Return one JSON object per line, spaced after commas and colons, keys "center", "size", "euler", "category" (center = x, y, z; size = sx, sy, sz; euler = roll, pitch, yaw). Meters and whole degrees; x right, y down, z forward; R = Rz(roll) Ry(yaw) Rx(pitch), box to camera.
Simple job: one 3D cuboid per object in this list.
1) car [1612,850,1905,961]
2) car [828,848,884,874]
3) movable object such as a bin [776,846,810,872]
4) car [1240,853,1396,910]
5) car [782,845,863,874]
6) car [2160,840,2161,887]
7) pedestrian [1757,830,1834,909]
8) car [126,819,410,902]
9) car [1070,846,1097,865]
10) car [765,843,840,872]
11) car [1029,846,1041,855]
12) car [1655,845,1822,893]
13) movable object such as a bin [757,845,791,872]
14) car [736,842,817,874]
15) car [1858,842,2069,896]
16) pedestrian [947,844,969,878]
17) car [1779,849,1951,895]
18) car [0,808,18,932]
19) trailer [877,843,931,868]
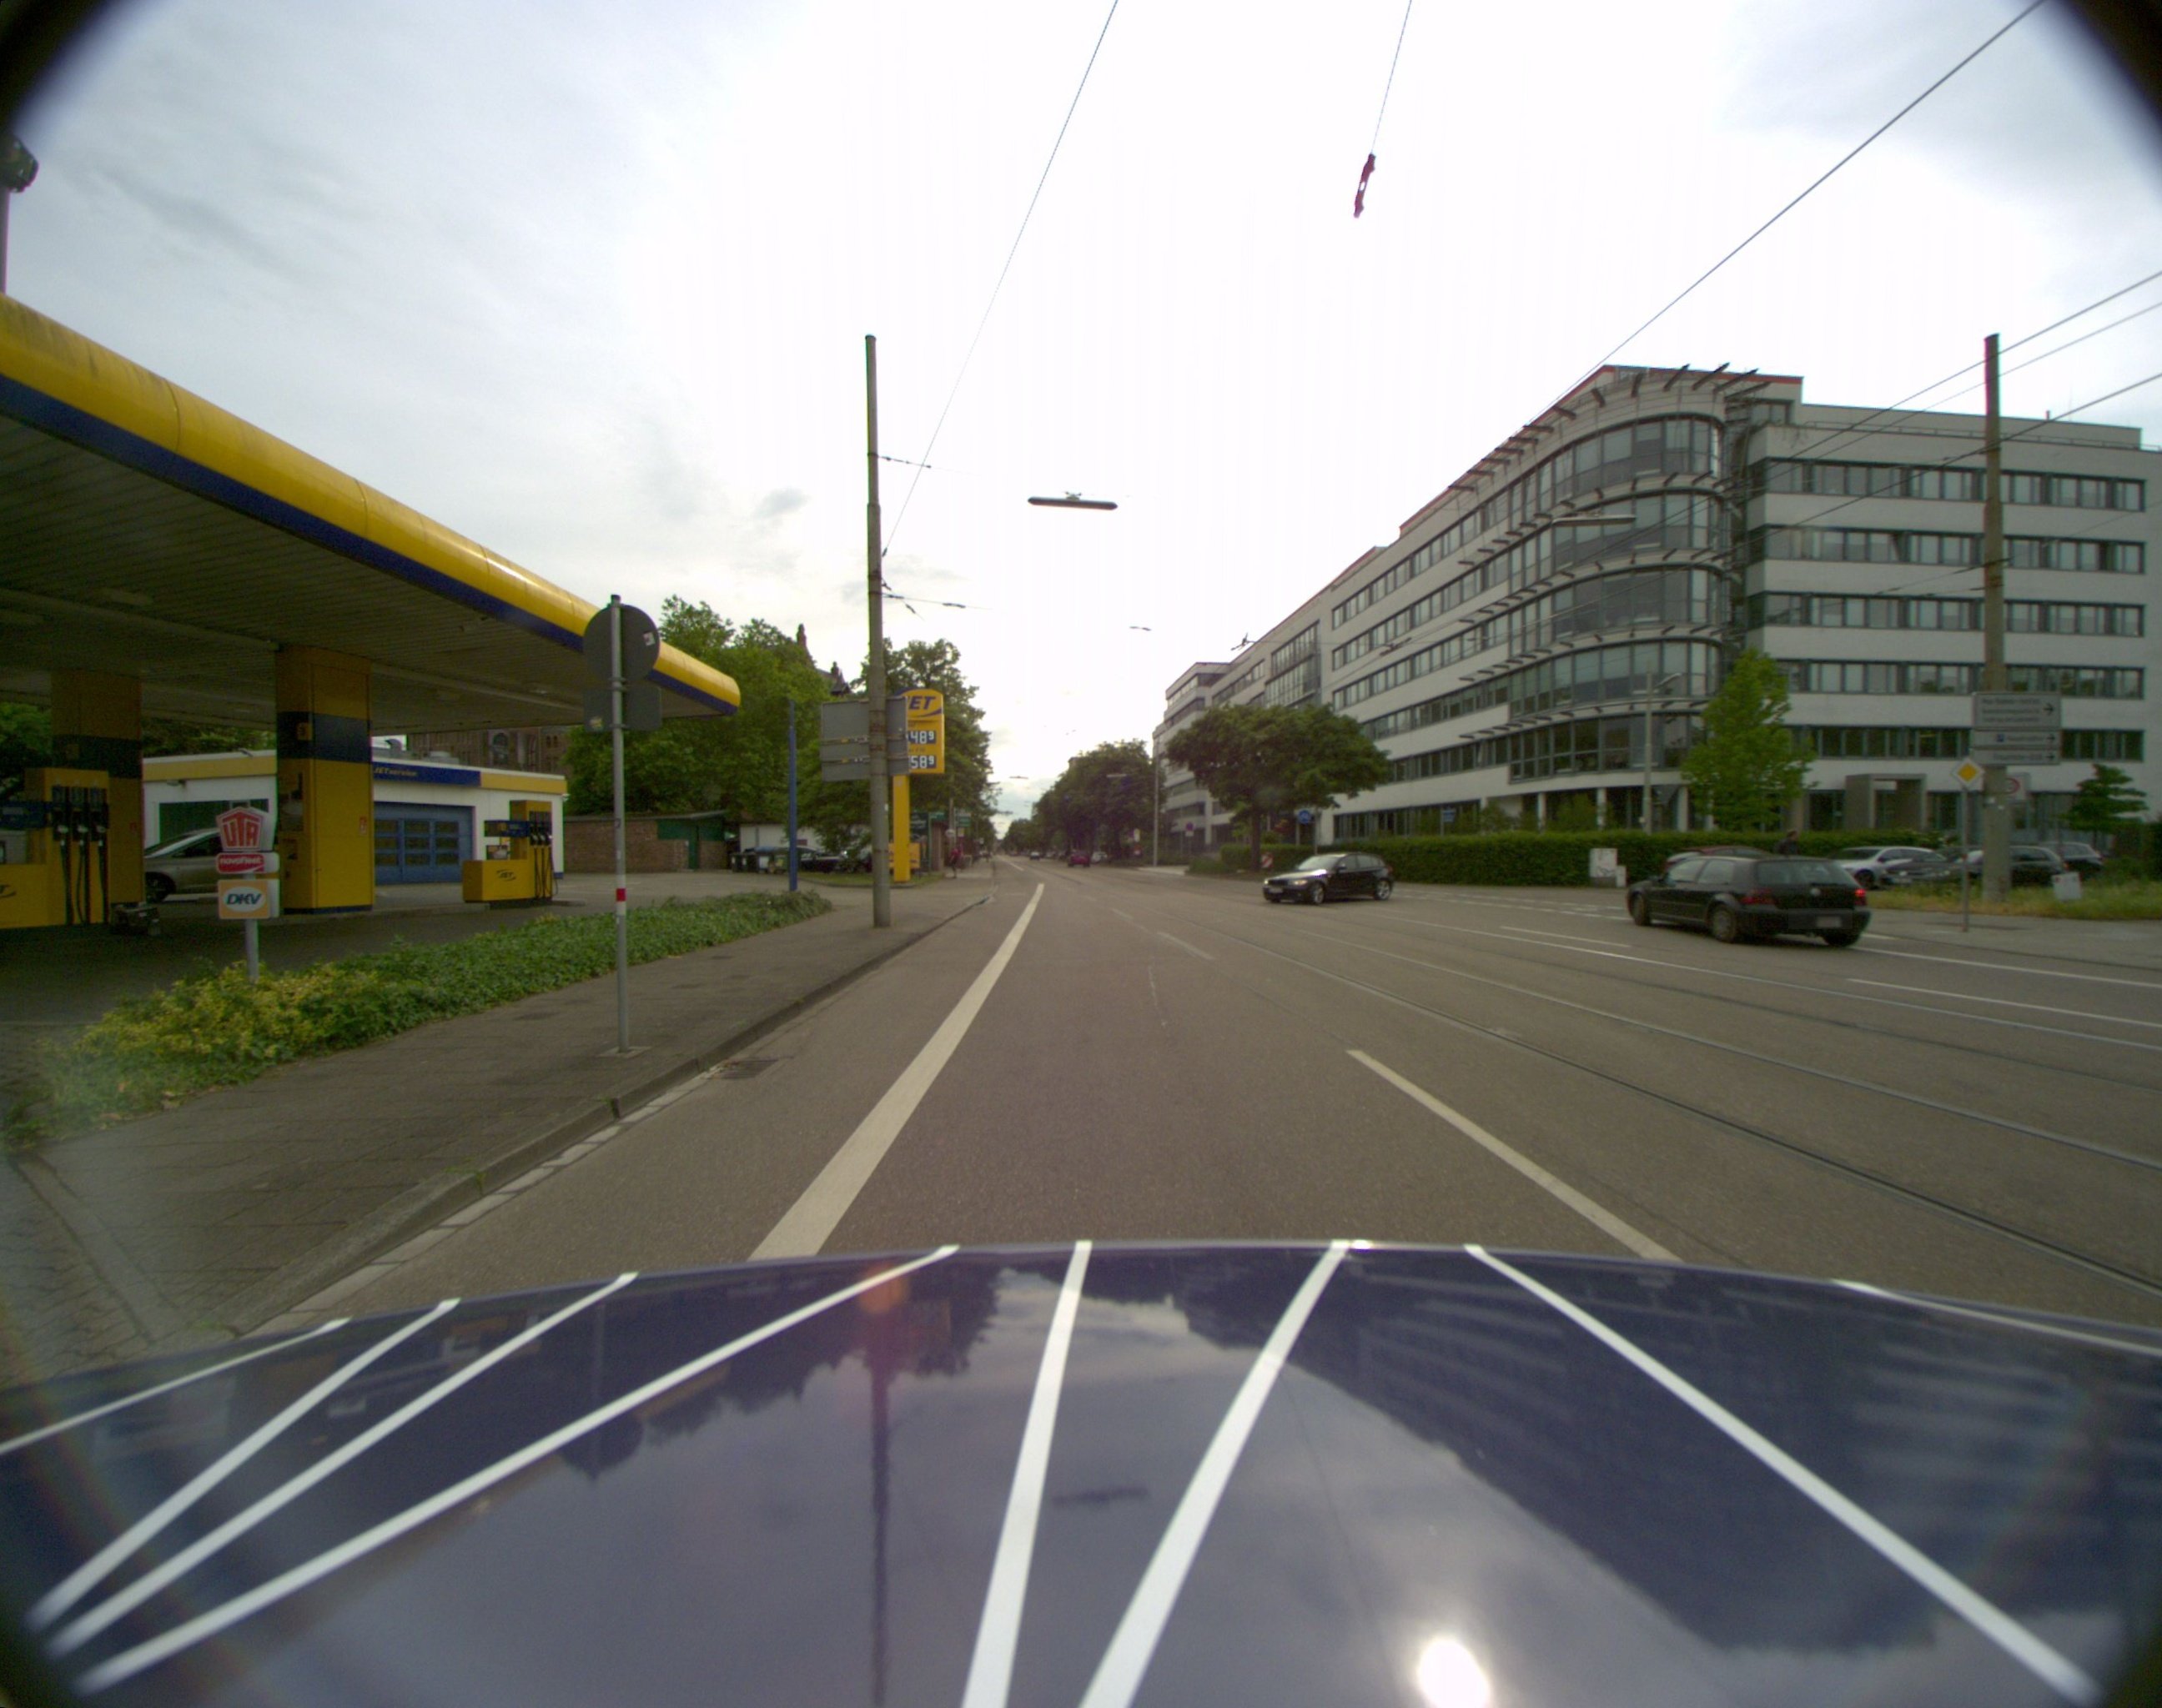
{"center": [11.168, 0.722, 13.000], "size": [1.793, 1.521, 4.144], "euler": [2, 1, 10], "category": "car"}
{"center": [-12.326, 0.368, 41.934], "size": [1.999, 1.281, 3.998], "euler": [-1, 1, -2], "category": "car"}
{"center": [-15.065, 0.246, 39.746], "size": [1.118, 1.312, 1.162], "euler": [-1, 1, 29], "category": "movable object such as a bin"}
{"center": [6.741, 0.721, 21.551], "size": [4.118, 1.361, 1.784], "euler": [-2, 1, -27], "category": "car"}
{"center": [-14.759, 0.266, 43.550], "size": [1.821, 1.509, 4.007], "euler": [0, 1, 35], "category": "car"}
{"center": [40.614, 0.297, 26.436], "size": [3.836, 1.672, 1.887], "euler": [-1, 1, -5], "category": "car"}
{"center": [16.946, 0.353, 18.046], "size": [0.806, 1.815, 1.059], "euler": [-1, 1, -2], "category": "pedestrian"}
{"center": [-20.393, 0.150, 19.339], "size": [1.982, 1.832, 4.536], "euler": [2, 0, 25], "category": "car"}
{"center": [0.202, 0.150, 72.228], "size": [1.848, 1.714, 4.403], "euler": [0, 1, -9], "category": "car"}
{"center": [-17.516, 0.202, 47.892], "size": [3.999, 1.657, 1.999], "euler": [-1, 1, -5], "category": "car"}
{"center": [-8.815, -0.680, 146.198], "size": [1.802, 1.537, 4.476], "euler": [-1, 1, -9], "category": "car"}
{"center": [20.945, 0.473, 24.283], "size": [4.018, 1.413, 1.725], "euler": [-1, -1, -6], "category": "car"}
{"center": [-16.236, 0.235, 40.201], "size": [1.118, 1.351, 1.162], "euler": [-1, 1, 29], "category": "movable object such as a bin"}
{"center": [-17.503, 0.214, 43.802], "size": [1.807, 1.686, 4.033], "euler": [-1, 1, 31], "category": "car"}
{"center": [24.777, 0.402, 21.433], "size": [3.985, 1.443, 1.815], "euler": [0, 1, -3], "category": "car"}
{"center": [-6.533, 0.361, 40.303], "size": [0.871, 1.738, 0.848], "euler": [2, 2, -31], "category": "pedestrian"}
{"center": [25.225, 0.537, 24.511], "size": [4.048, 1.341, 1.778], "euler": [-1, 1, -7], "category": "car"}
{"center": [-18.737, 0.287, 10.518], "size": [1.821, 1.977, 4.258], "euler": [1, 2, 16], "category": "car"}
{"center": [-11.760, 0.082, 50.549], "size": [3.292, 1.523, 1.772], "euler": [1, 3, -6], "category": "trailer"}
